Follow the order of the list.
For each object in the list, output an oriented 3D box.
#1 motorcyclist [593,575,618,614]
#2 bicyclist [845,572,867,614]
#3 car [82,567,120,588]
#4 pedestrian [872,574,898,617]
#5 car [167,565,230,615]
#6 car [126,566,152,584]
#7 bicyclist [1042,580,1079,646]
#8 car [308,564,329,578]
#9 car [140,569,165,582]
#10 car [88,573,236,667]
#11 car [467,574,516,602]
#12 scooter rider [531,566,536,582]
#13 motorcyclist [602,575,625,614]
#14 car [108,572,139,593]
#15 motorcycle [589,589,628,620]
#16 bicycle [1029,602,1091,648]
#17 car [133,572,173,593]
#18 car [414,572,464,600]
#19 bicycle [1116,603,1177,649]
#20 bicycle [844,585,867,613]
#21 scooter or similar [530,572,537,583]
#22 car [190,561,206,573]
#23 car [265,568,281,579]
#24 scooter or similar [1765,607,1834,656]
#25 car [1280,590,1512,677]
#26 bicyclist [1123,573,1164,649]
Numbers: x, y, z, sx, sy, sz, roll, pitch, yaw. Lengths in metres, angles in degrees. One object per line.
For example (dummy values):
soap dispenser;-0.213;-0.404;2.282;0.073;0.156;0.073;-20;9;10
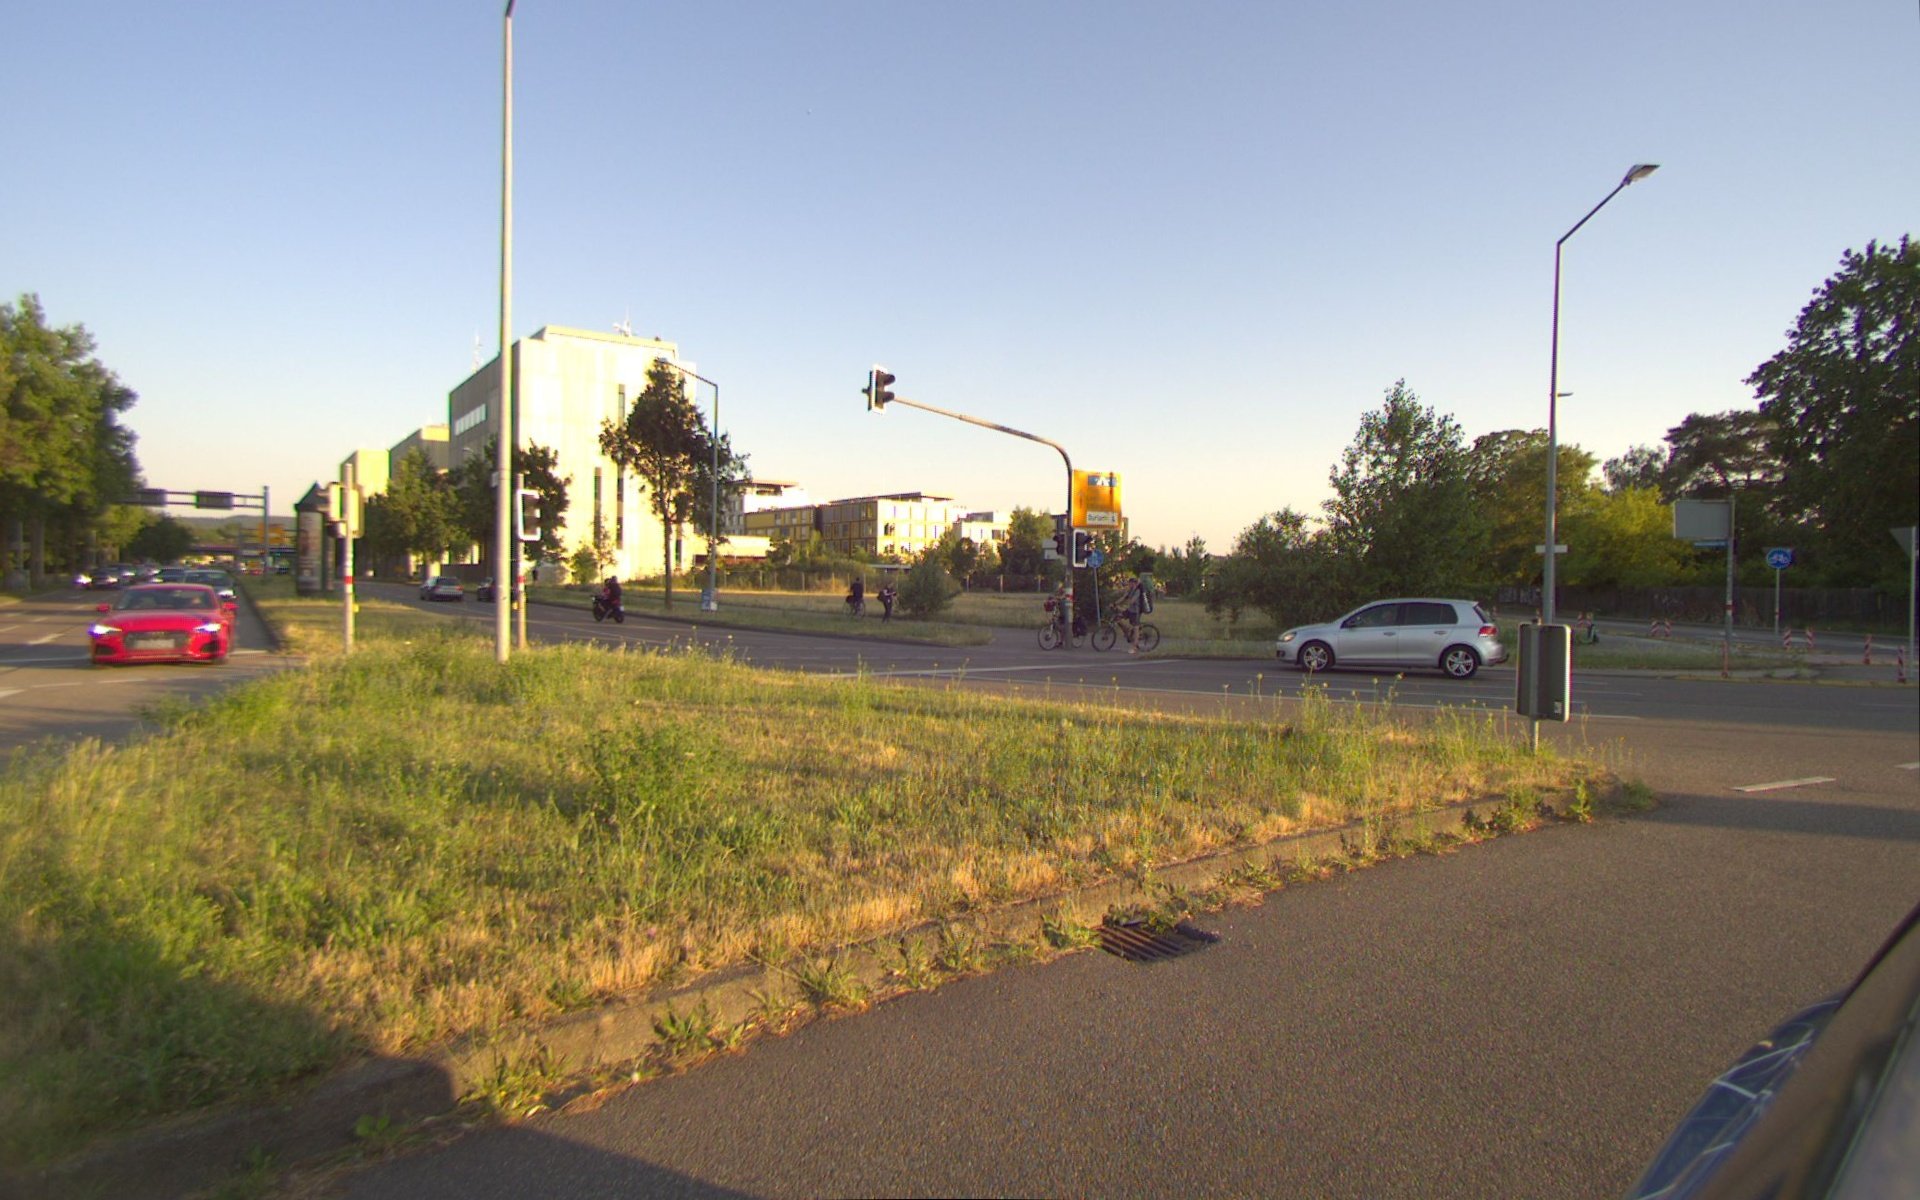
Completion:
motorcyclist;-13.370;-0.216;38.183;0.713;1.434;0.626;1;1;45
bicyclist;-4.360;-0.305;42.457;0.527;1.765;0.843;1;1;-38
car;-54.924;-1.437;64.750;1.589;1.325;3.716;-1;2;-36
pedestrian;-2.760;-0.156;37.359;0.782;1.569;0.567;0;1;-37
car;-26.862;-0.372;35.728;1.690;1.633;4.134;-1;1;-37
car;-73.033;-2.251;90.053;1.589;1.537;3.716;-1;2;-36
bicyclist;2.684;0.334;27.095;0.757;1.722;0.640;-3;3;-40
car;-70.678;-3.173;111.483;1.716;1.442;4.140;1;1;-29
car;-83.238;-2.568;104.389;1.841;1.325;4.137;-1;2;-36
car;-14.251;0.289;18.296;1.810;1.479;4.581;1;0;-35
car;-27.571;-0.713;59.446;1.770;1.482;3.998;1;1;-37
scooter rider;-36.555;-2.202;86.739;0.260;1.356;0.406;1;1;-37
motorcyclist;-12.910;-0.201;37.716;0.592;1.426;0.626;1;1;45
car;-63.764;-1.341;77.196;1.589;1.537;3.716;-1;2;-36
motorcycle;-13.199;0.160;38.007;0.549;1.114;2.155;0;1;-43
bicycle;2.700;0.647;27.133;1.894;1.098;0.456;-3;3;-40
car;-51.868;-1.145;65.113;1.841;1.325;4.137;-1;2;-36
car;-29.700;-0.817;57.598;1.770;1.440;4.447;1;1;-37
bicycle;4.830;0.657;26.151;1.894;1.098;0.456;-2;2;-40
bicycle;-4.404;-0.049;42.430;0.275;1.102;1.372;1;1;-37
scooter or similar;-36.563;-1.930;86.776;0.242;0.925;1.039;1;1;-37
car;-101.289;-4.371;134.540;1.589;1.471;3.716;-1;2;-36
car;-101.925;-3.957;150.117;1.784;1.544;4.134;1;1;-37
scooter or similar;21.221;0.789;25.581;1.356;1.177;0.442;1;1;-2
car;8.533;0.582;19.972;4.010;1.499;1.876;1;1;26
bicyclist;4.739;0.267;26.163;0.894;1.921;0.640;-2;2;-40
